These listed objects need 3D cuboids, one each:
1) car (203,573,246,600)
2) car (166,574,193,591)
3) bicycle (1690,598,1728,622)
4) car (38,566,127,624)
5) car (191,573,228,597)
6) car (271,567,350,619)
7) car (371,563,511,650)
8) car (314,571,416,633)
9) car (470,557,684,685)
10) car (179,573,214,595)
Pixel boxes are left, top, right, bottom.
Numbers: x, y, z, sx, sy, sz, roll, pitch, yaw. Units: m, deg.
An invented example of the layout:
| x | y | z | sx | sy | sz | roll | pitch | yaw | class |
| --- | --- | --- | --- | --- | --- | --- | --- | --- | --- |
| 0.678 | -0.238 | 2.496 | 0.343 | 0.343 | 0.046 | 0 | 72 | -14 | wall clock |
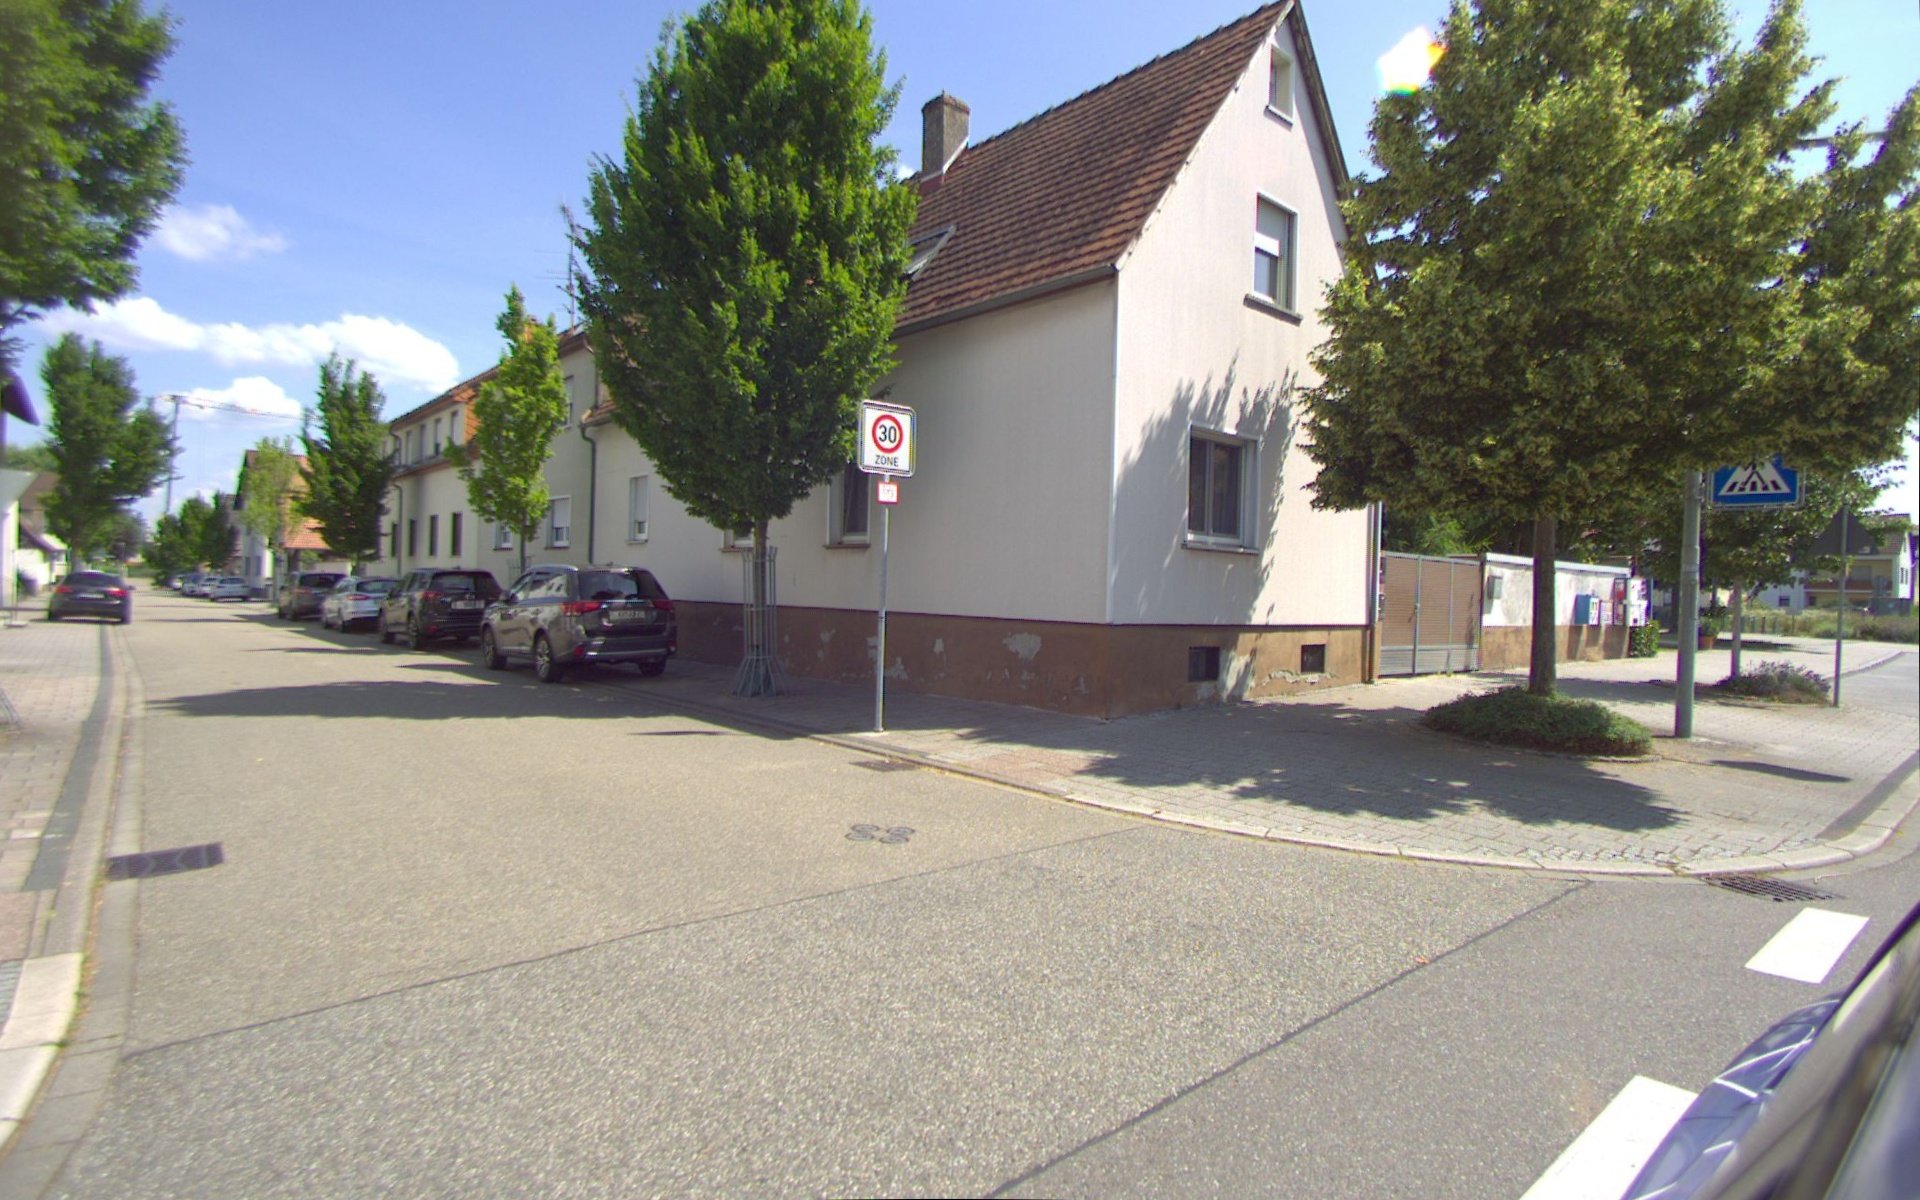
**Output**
| x | y | z | sx | sy | sz | roll | pitch | yaw | class |
| --- | --- | --- | --- | --- | --- | --- | --- | --- | --- |
| -42.415 | -0.799 | 58.317 | 1.741 | 1.513 | 4.061 | 0 | 1 | -40 | car |
| -70.881 | -1.584 | 91.890 | 1.741 | 1.513 | 4.061 | 0 | 1 | -40 | car |
| 36.737 | 0.500 | 49.601 | 2.583 | 1.125 | 0.839 | 0 | 1 | -38 | bicycle |
| -24.789 | -0.154 | 28.667 | 1.724 | 1.456 | 4.061 | 4 | -1 | -40 | car |
| -49.167 | -0.988 | 66.266 | 1.741 | 1.513 | 4.061 | 0 | 1 | -40 | car |
| -21.823 | -0.263 | 33.930 | 1.741 | 1.620 | 4.061 | 0 | 1 | -40 | car |
| -11.267 | 0.079 | 21.838 | 1.797 | 1.693 | 4.174 | 0 | 1 | -40 | car |
| -16.306 | 0.004 | 27.642 | 1.741 | 1.538 | 4.061 | 0 | 1 | -40 | car |
| -5.980 | 0.229 | 15.525 | 1.797 | 1.693 | 4.174 | 0 | 1 | -40 | car |
| -53.827 | -1.159 | 71.349 | 1.741 | 1.513 | 4.061 | 0 | 1 | -40 | car |
